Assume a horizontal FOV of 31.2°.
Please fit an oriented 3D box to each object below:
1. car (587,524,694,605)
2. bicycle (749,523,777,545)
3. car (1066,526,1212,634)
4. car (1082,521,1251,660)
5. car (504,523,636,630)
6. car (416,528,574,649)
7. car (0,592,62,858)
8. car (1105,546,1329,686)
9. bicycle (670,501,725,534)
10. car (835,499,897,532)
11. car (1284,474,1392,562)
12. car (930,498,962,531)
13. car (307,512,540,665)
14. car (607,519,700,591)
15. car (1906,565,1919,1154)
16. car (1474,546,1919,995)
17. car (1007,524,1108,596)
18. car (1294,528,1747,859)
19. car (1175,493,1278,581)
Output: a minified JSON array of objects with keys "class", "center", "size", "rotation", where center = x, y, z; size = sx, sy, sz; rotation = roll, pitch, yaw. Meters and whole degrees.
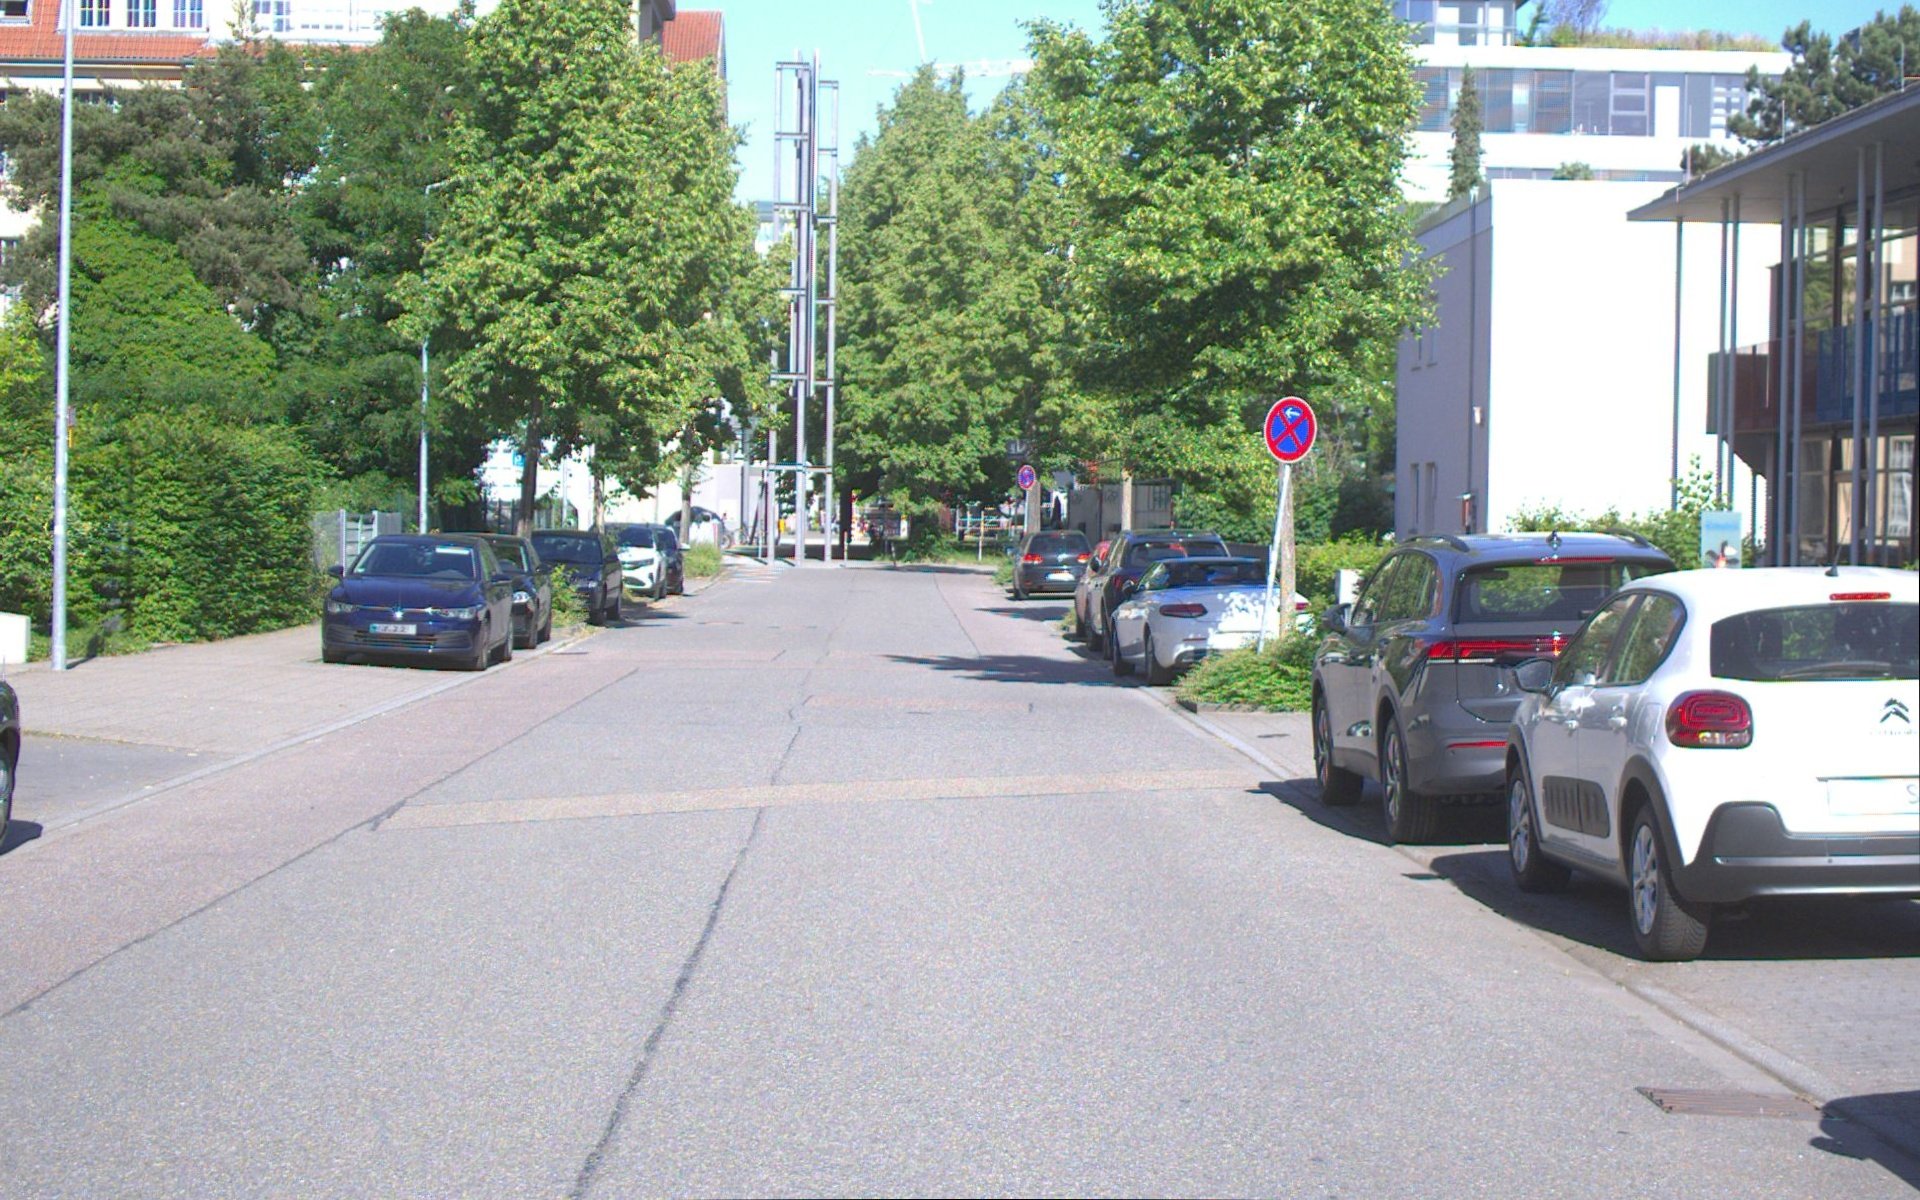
[{"class":"car","center":[-6.267,-0.714,67.766],"size":[1.777,1.525,4.000],"rotation":[1,1,-1]},{"class":"bicycle","center":[-6.448,-2.166,112.465],"size":[0.373,0.681,1.080],"rotation":[0,3,-37]},{"class":"car","center":[2.632,-0.322,51.255],"size":[1.834,1.510,3.881],"rotation":[1,1,-2]},{"class":"car","center":[2.670,-0.165,45.252],"size":[1.821,1.713,4.120],"rotation":[-1,1,-2]},{"class":"car","center":[-6.149,-0.396,54.533],"size":[1.694,1.599,3.942],"rotation":[1,1,-1]},{"class":"car","center":[-6.085,-0.175,45.328],"size":[1.630,1.496,3.578],"rotation":[1,1,-1]},{"class":"car","center":[-5.273,0.586,15.109],"size":[1.599,1.213,3.875],"rotation":[3,1,0]},{"class":"car","center":[2.778,0.145,38.106],"size":[1.829,1.417,4.234],"rotation":[-1,1,-4]},{"class":"bicycle","center":[-7.061,-2.226,92.502],"size":[1.467,0.839,0.336],"rotation":[1,2,-5]},{"class":"car","center":[-6.101,-5.501,223.470],"size":[3.987,2.006,2.000],"rotation":[1,2,0]},{"class":"car","center":[8.889,-1.935,81.166],"size":[1.993,2.007,4.000],"rotation":[1,1,-1]},{"class":"car","center":[-0.925,-5.604,224.871],"size":[1.993,2.006,4.001],"rotation":[1,2,-1]},{"class":"car","center":[-5.961,-0.154,38.614],"size":[1.762,1.522,4.000],"rotation":[4,1,2]},{"class":"car","center":[-6.506,-0.970,73.261],"size":[1.700,1.465,3.461],"rotation":[1,1,-1]},{"class":"car","center":[3.344,0.690,6.800],"size":[1.687,1.489,4.078],"rotation":[1,0,-2]},{"class":"car","center":[3.357,0.604,14.497],"size":[1.679,1.536,3.849],"rotation":[1,2,-1]},{"class":"car","center":[2.081,-0.887,74.545],"size":[1.993,1.481,4.000],"rotation":[1,1,-1]},{"class":"car","center":[3.051,0.428,19.574],"size":[1.725,1.646,4.327],"rotation":[-1,1,-2]},{"class":"car","center":[6.247,-1.480,81.057],"size":[2.024,2.007,4.000],"rotation":[1,1,-1]}]
